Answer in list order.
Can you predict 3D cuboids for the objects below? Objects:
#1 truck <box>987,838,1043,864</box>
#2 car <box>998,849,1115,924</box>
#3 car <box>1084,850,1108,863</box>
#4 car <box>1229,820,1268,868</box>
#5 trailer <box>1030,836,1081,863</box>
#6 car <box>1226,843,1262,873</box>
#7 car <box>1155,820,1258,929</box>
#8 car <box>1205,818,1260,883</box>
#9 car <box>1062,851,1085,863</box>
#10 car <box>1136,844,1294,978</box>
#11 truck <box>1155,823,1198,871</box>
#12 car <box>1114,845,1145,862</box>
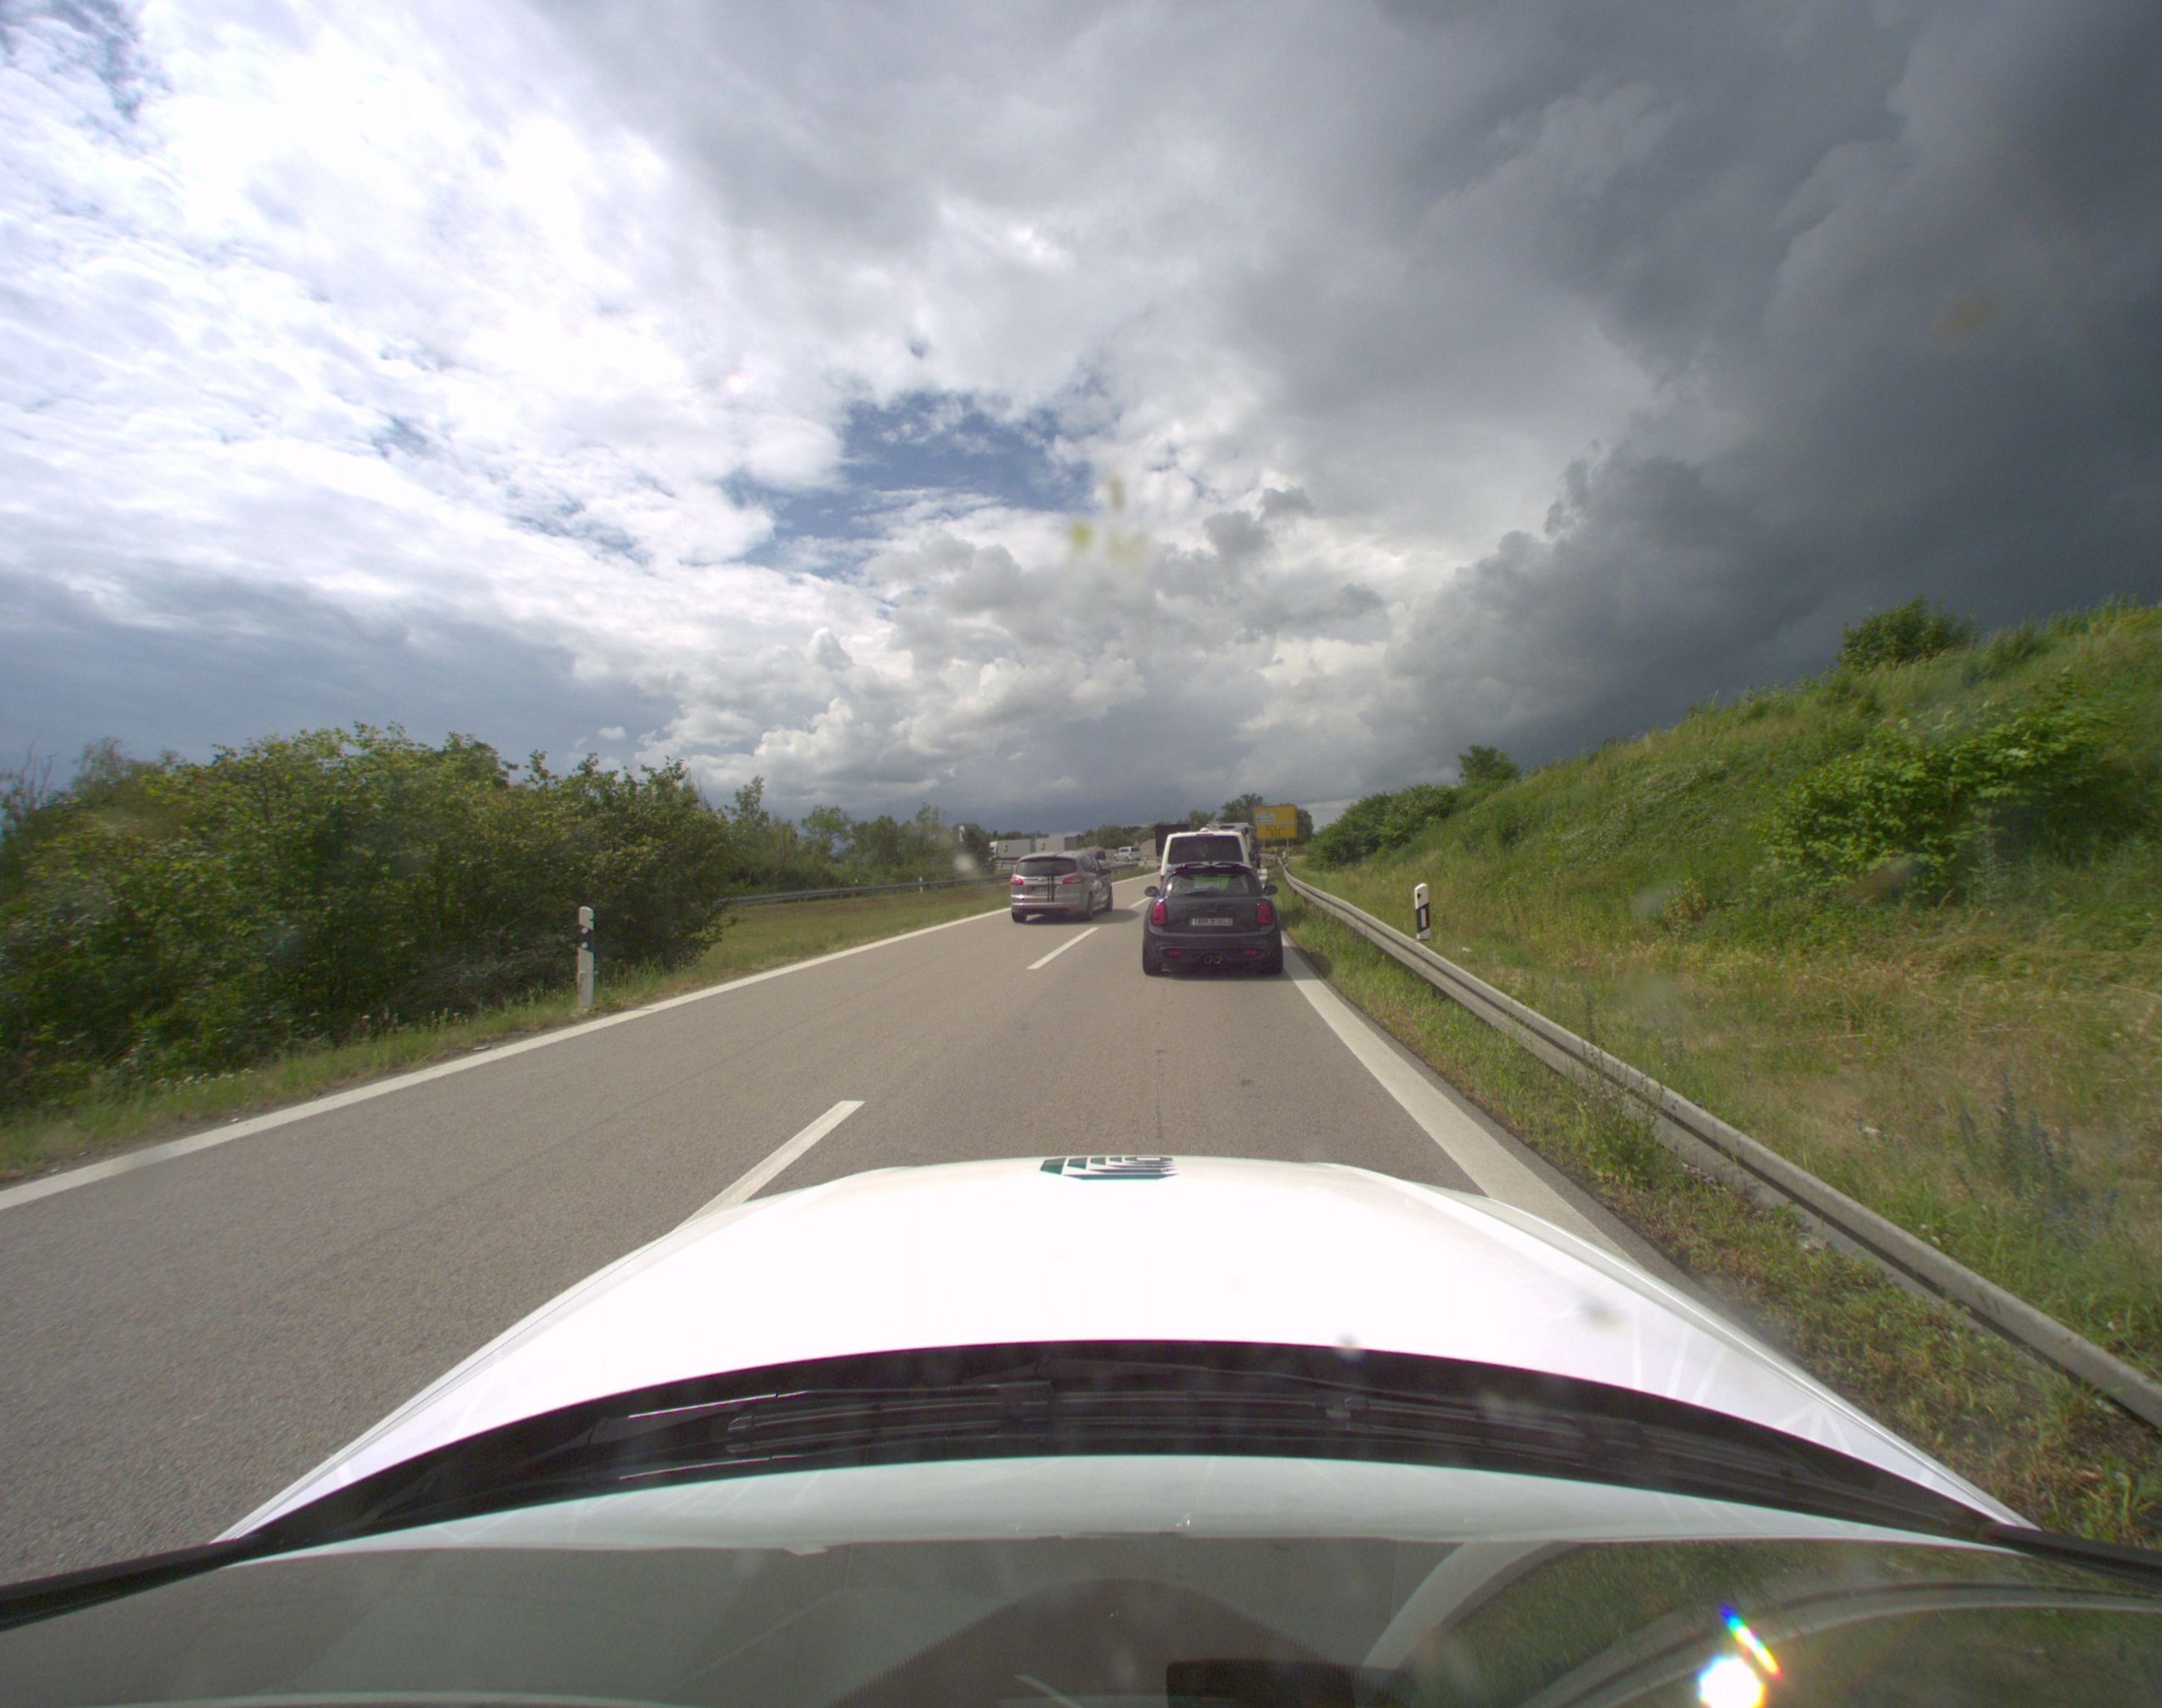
[{"bbox_3d":[-10.822,-0.420,132.800,9.900,3.976,2.863,-1,-1,38],"label":"truck"},{"bbox_3d":[-0.455,0.743,20.105,2.009,1.577,4.598,-3,-1,9],"label":"car"},{"bbox_3d":[2.183,0.338,120.542,1.930,1.838,4.281,0,-1,-25],"label":"car"},{"bbox_3d":[11.592,-0.615,56.012,2.294,3.069,6.686,-1,-1,14],"label":"car"},{"bbox_3d":[-4.034,-0.619,126.577,3.063,3.898,8.665,1,-2,-43],"label":"trailer"},{"bbox_3d":[9.437,0.259,47.228,1.981,1.642,3.940,-1,-1,11],"label":"car"},{"bbox_3d":[2.730,0.415,17.560,1.899,2.045,4.192,-1,-1,9],"label":"car"},{"bbox_3d":[6.667,-0.093,35.786,2.197,2.623,5.550,-1,-1,11],"label":"car"},{"bbox_3d":[-1.098,0.423,118.615,1.821,1.756,3.967,0,-1,-25],"label":"car"},{"bbox_3d":[1.796,0.677,11.341,1.790,1.546,3.746,-1,0,7],"label":"car"},{"bbox_3d":[6.891,-0.410,57.948,2.544,3.168,7.489,-1,-1,11],"label":"truck"},{"bbox_3d":[6.627,-0.094,112.872,2.299,2.260,5.068,0,-1,-23],"label":"car"}]
